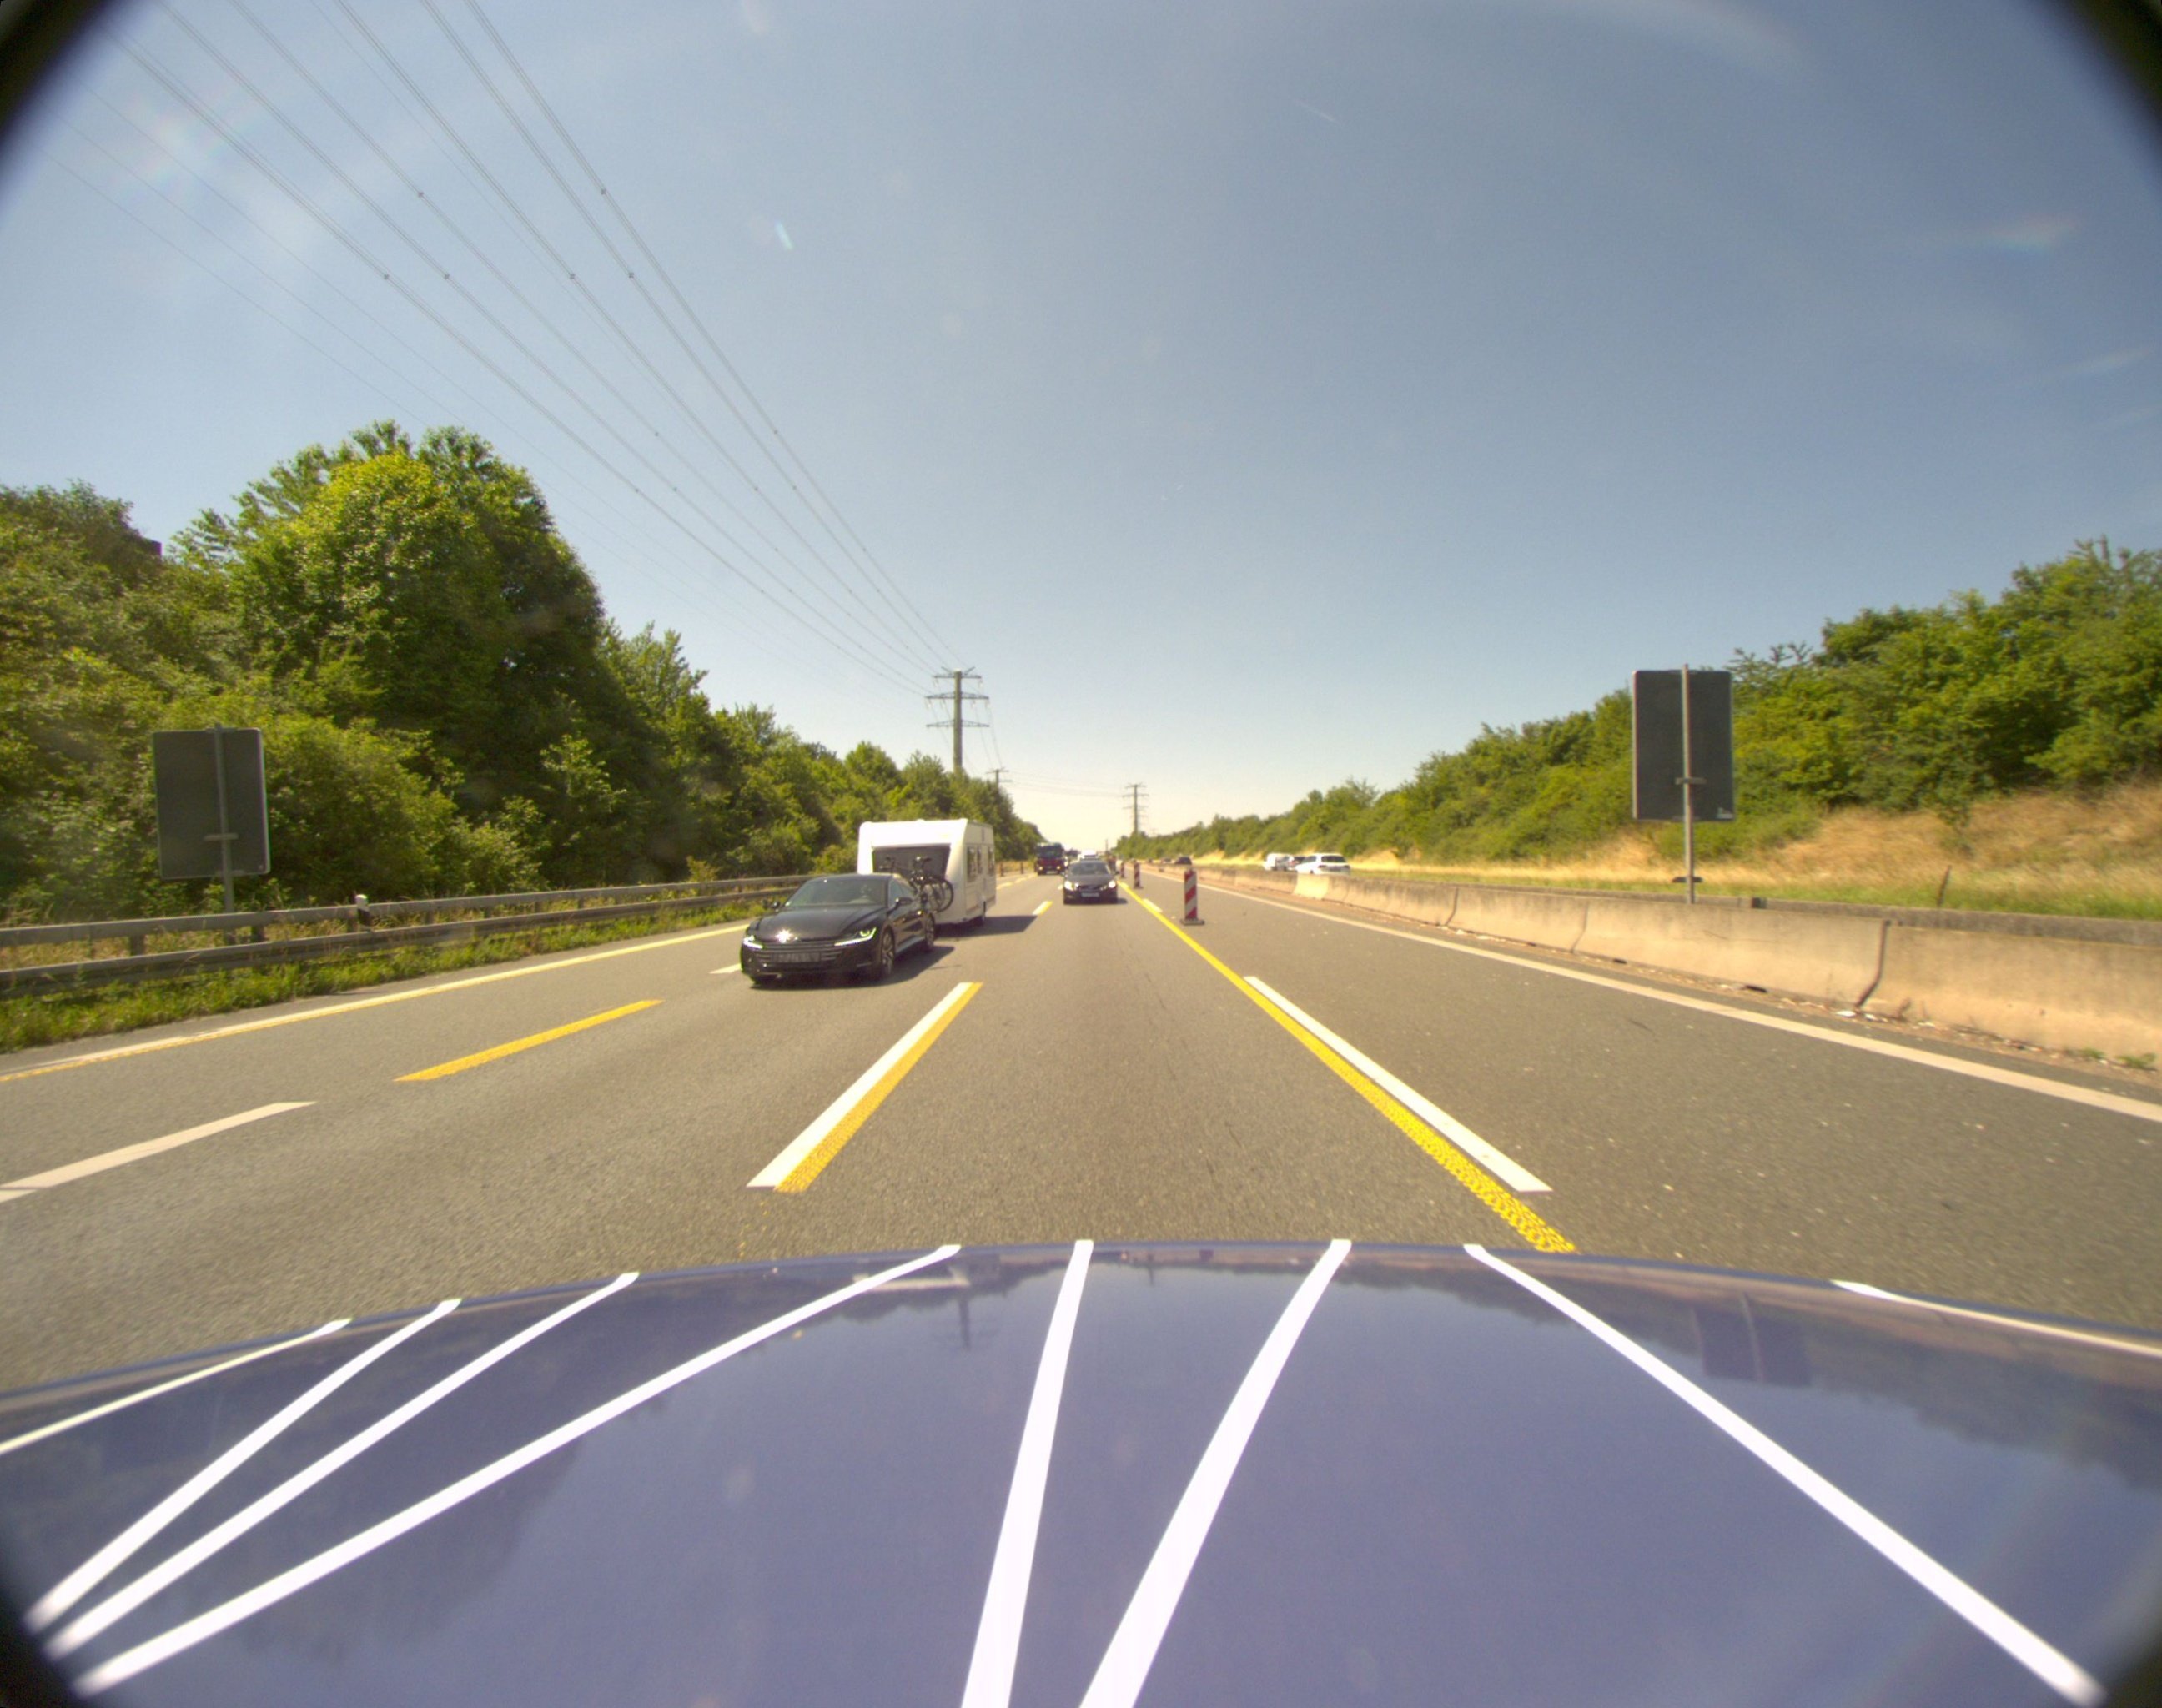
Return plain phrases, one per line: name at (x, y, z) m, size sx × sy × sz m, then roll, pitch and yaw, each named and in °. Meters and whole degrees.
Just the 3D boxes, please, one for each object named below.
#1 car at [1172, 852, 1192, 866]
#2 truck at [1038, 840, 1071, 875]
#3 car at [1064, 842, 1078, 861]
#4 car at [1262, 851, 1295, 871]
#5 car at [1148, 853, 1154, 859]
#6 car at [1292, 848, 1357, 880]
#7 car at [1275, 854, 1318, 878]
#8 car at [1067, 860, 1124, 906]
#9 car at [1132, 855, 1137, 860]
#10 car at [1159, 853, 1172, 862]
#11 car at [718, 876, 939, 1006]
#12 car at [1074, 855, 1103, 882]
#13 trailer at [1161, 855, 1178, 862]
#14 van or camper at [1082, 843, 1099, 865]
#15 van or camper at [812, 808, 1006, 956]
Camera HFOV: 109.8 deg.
car at (12.504, 0.561, 94.238) m, size 1.877 × 1.684 × 4.498 m, roll 0°, pitch 0°, yaw 1°
truck at (-2.572, 0.355, 75.746) m, size 2.431 × 3.122 × 7.648 m, roll -4°, pitch 0°, yaw 2°
car at (-1.980, -0.470, 155.371) m, size 2.397 × 3.779 × 10.273 m, roll -2°, pitch 0°, yaw 1°
car at (20.237, 0.734, 78.095) m, size 1.935 × 2.002 × 5.596 m, roll 0°, pitch 0°, yaw 0°
car at (19.538, 0.604, 211.789) m, size 1.503 × 1.539 × 4.000 m, roll 0°, pitch 0°, yaw 0°
car at (12.406, 0.479, 38.988) m, size 1.915 × 1.447 × 4.356 m, roll -2°, pitch 0°, yaw 1°
car at (16.227, 0.867, 57.550) m, size 1.998 × 1.772 × 4.622 m, roll 0°, pitch 0°, yaw 1°
car at (0.577, 0.950, 26.465) m, size 1.798 × 1.432 × 4.001 m, roll -2°, pitch 0°, yaw 3°
car at (17.460, 1.047, 247.366) m, size 1.578 × 1.456 × 3.778 m, roll 0°, pitch 0°, yaw 1°
car at (16.263, 0.663, 146.209) m, size 1.918 × 1.743 × 4.565 m, roll -2°, pitch 0°, yaw 1°
car at (-3.467, 1.124, 11.357) m, size 1.800 × 1.399 × 4.210 m, roll -2°, pitch 0°, yaw 1°
car at (0.532, 0.915, 49.556) m, size 1.675 × 1.619 × 4.691 m, roll -3°, pitch 0°, yaw 2°
trailer at (16.319, 0.821, 140.244) m, size 2.362 × 1.336 × 7.216 m, roll 0°, pitch 0°, yaw 1°
van or camper at (1.226, -0.016, 95.066) m, size 1.998 × 2.604 × 5.629 m, roll 0°, pitch 0°, yaw 2°
van or camper at (-3.467, 0.498, 17.706) m, size 2.432 × 2.549 × 8.417 m, roll -2°, pitch 0°, yaw 1°
